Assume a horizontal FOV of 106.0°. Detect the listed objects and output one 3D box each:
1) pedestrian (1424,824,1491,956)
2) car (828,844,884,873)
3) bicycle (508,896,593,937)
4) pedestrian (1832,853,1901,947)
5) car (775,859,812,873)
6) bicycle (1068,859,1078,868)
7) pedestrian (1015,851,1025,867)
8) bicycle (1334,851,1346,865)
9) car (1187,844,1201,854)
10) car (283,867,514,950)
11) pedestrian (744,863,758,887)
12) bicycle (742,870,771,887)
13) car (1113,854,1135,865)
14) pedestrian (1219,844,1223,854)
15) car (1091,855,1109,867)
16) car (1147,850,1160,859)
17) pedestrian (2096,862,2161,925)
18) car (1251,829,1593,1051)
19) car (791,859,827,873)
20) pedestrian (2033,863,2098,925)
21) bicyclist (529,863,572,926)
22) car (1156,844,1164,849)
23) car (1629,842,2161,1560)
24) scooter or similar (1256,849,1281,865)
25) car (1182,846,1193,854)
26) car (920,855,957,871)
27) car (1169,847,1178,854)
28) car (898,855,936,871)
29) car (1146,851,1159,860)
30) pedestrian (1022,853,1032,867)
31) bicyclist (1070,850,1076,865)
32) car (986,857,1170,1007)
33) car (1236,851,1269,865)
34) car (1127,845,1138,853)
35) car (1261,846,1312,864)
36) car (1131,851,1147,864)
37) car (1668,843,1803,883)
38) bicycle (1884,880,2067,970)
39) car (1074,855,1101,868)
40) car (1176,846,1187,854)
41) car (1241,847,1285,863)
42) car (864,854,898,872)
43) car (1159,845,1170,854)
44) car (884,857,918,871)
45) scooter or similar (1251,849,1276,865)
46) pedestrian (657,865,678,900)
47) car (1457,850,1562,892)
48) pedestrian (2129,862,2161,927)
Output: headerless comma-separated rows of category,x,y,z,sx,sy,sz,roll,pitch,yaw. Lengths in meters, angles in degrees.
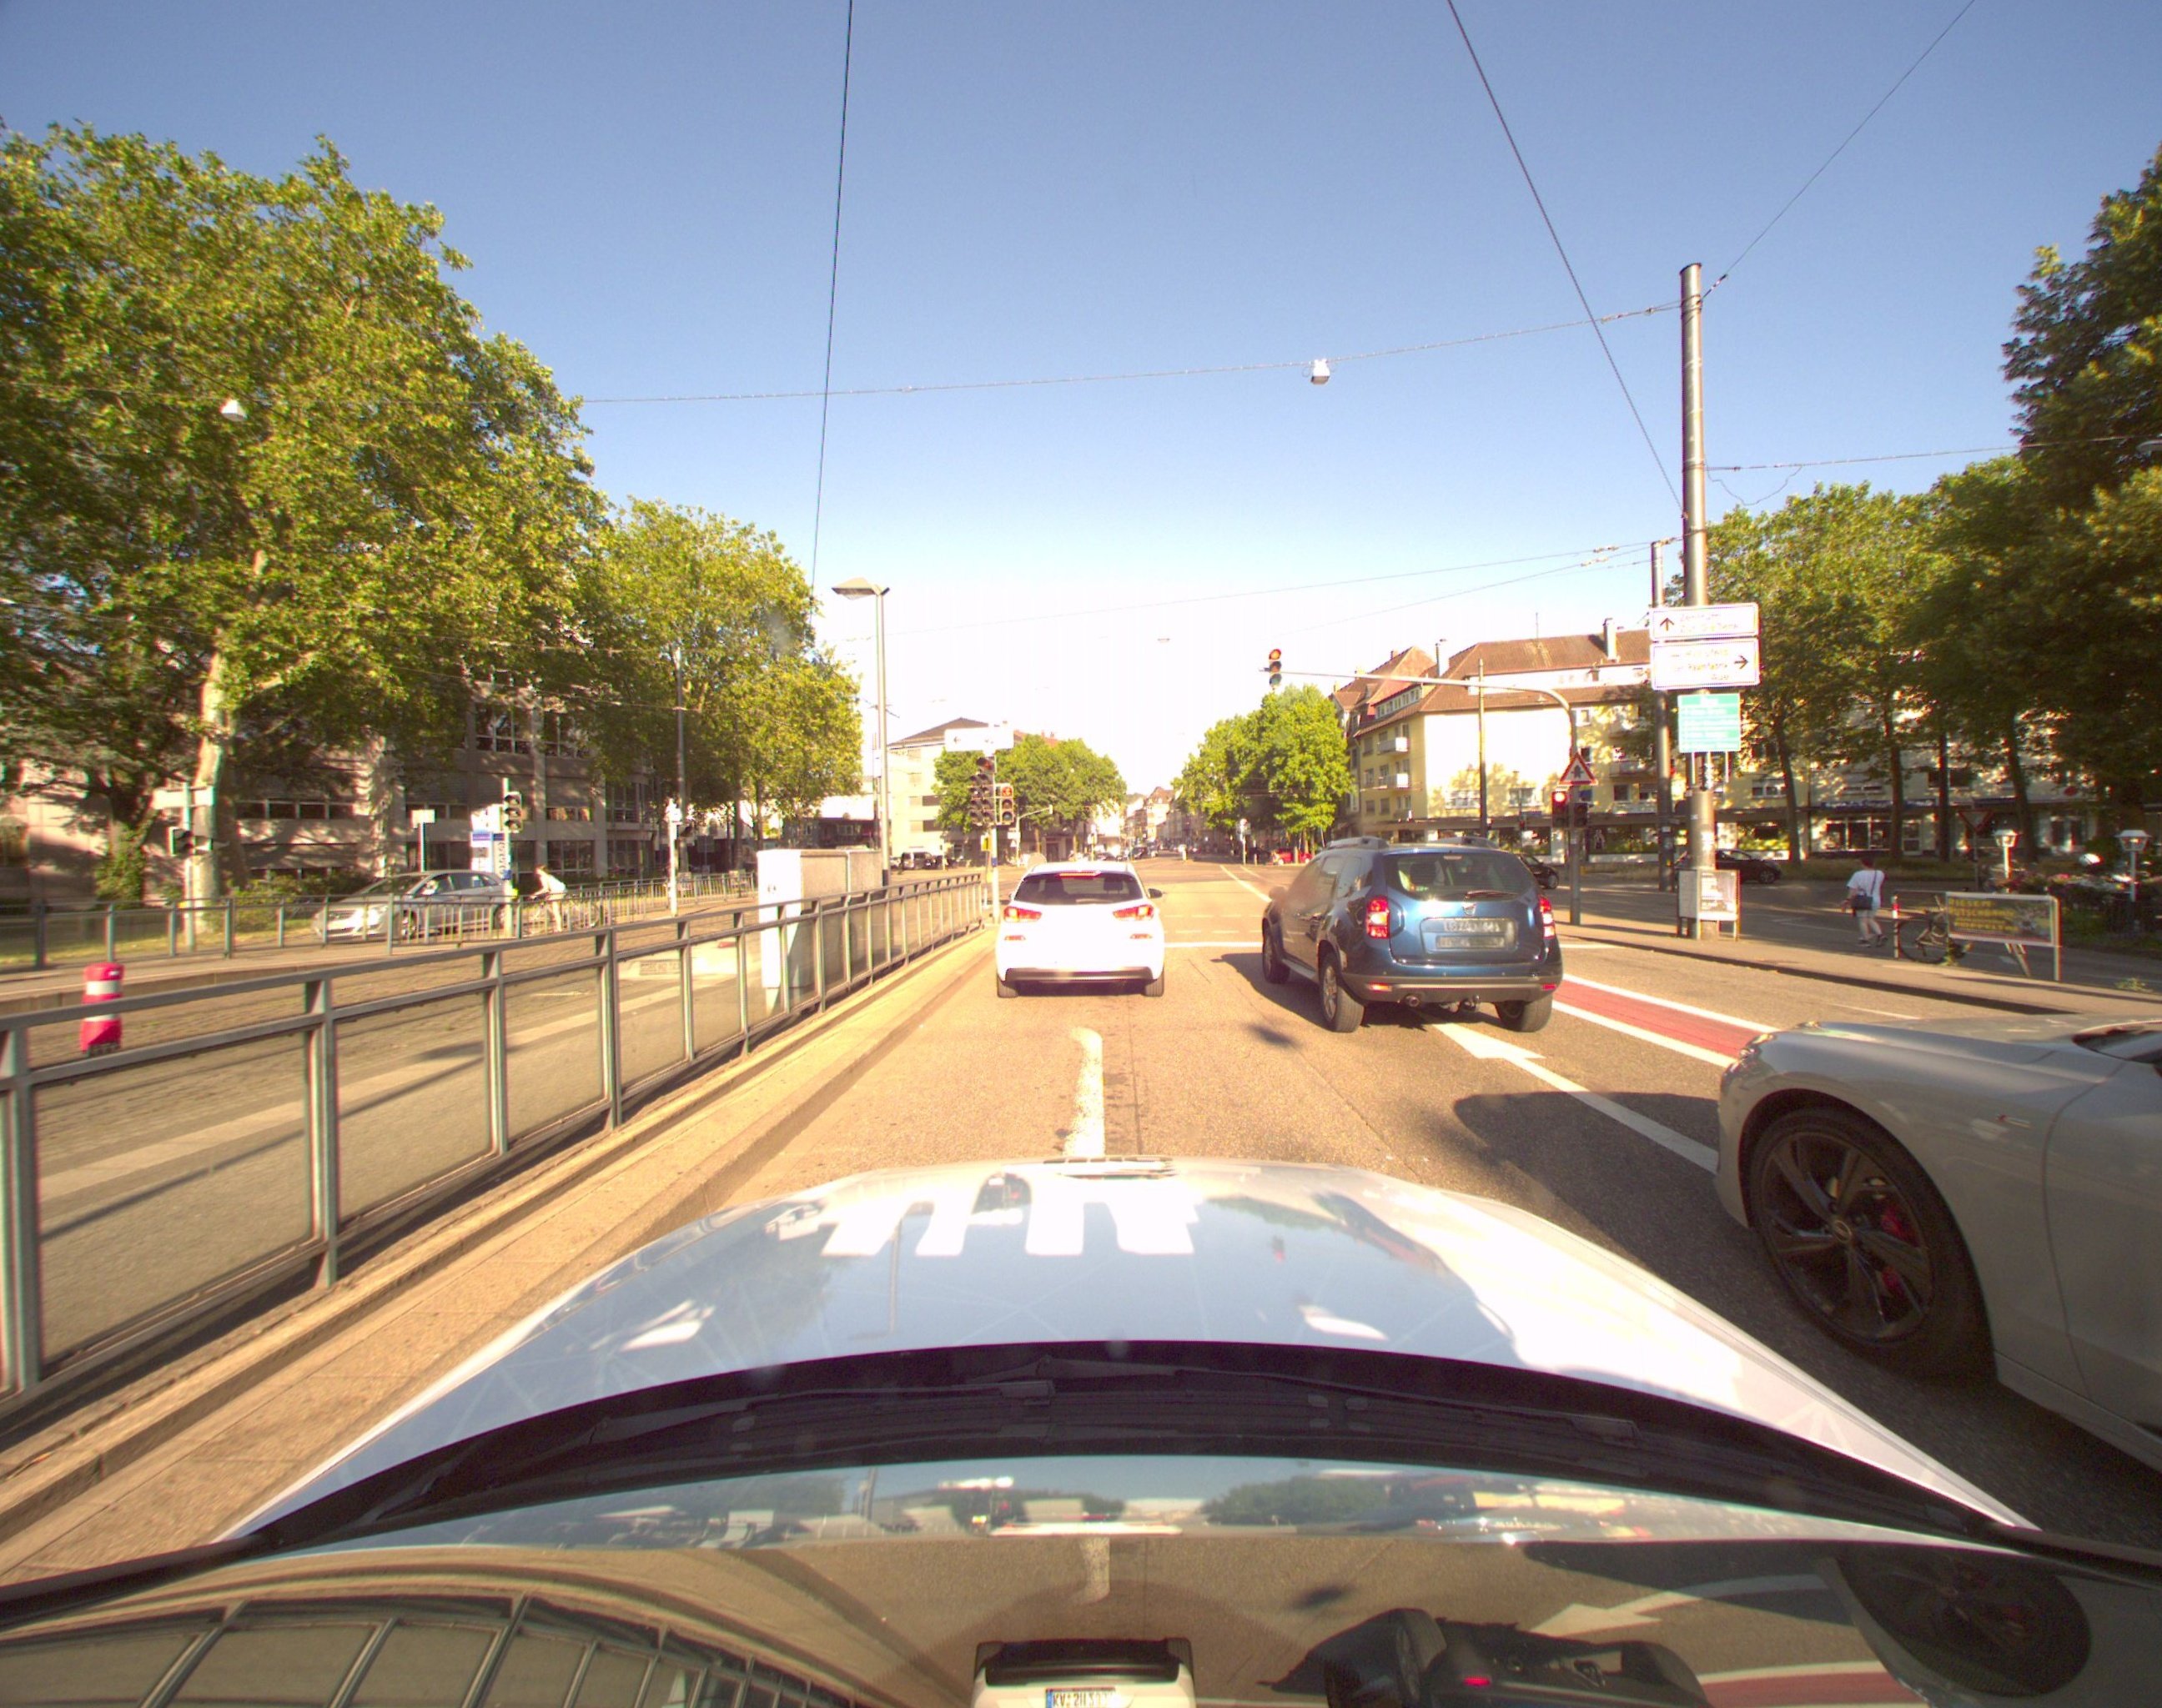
pedestrian,5.538,0.515,12.017,0.654,1.871,0.678,-1,0,1
car,-25.709,0.458,93.287,2.473,3.165,6.573,-1,0,25
bicycle,-12.285,1.427,18.880,1.623,0.816,0.522,-1,0,-34
pedestrian,13.595,0.780,14.119,0.642,1.563,0.635,1,0,21
car,-34.679,1.440,98.353,1.778,1.510,4.023,-1,0,26
bicycle,-0.898,1.056,92.494,0.463,0.956,1.777,-1,0,25
pedestrian,-6.737,0.538,89.966,0.828,1.771,0.787,-1,0,27
bicycle,20.825,0.287,65.555,0.606,1.107,1.803,-1,0,6
car,21.428,-0.985,154.072,2.097,1.776,4.343,-1,0,2
car,-16.122,1.211,19.579,1.806,1.692,4.166,-1,0,5
pedestrian,-23.217,1.477,57.326,0.645,1.661,0.651,-1,0,4
bicycle,-23.029,1.749,57.799,1.786,1.107,0.501,-1,0,4
car,5.864,0.734,110.756,1.779,1.510,4.020,-2,-1,21
pedestrian,25.092,-0.907,145.586,0.643,1.651,0.652,-1,-1,12
car,2.408,0.890,102.780,1.784,1.510,4.010,-2,-1,9
car,11.792,0.081,132.671,1.788,1.510,4.001,-1,0,1
pedestrian,23.060,0.861,17.924,0.645,1.338,0.632,1,0,2
car,2.973,0.640,8.121,1.793,1.638,4.046,-1,0,1
car,-32.331,1.404,96.924,1.778,1.510,4.023,-1,0,26
pedestrian,21.760,0.869,18.010,0.645,1.338,0.632,1,0,2
bicyclist,-12.295,0.924,18.882,0.806,1.414,0.522,-1,0,-34
car,20.917,-1.984,216.556,1.787,1.510,4.002,-1,0,2
car,3.162,0.711,0.938,1.922,1.472,4.857,-1,0,2
scooter or similar,15.228,0.269,66.309,1.926,1.280,0.557,-1,0,43
car,20.963,-0.843,160.617,1.787,1.510,4.002,-1,0,2
car,-15.450,0.958,88.389,1.904,1.649,4.203,-1,0,23
car,21.109,-0.889,186.032,1.787,1.522,4.002,-1,0,2
car,-17.896,0.943,89.119,1.777,1.649,4.035,-1,0,31
car,12.339,0.222,140.654,1.788,1.510,4.001,-1,0,1
pedestrian,-6.111,0.657,91.767,0.795,1.484,0.867,-1,0,28
bicyclist,-0.911,0.410,92.499,0.463,1.745,0.721,-1,0,25
car,0.025,0.780,10.052,1.801,1.452,4.001,-1,0,1
car,20.297,0.431,96.245,4.021,1.510,1.779,-1,0,-40
car,9.854,-0.983,155.658,1.788,1.510,4.001,-1,0,1
car,18.057,0.078,71.654,3.983,1.510,1.796,-1,0,-7
car,8.405,0.523,118.129,1.782,1.826,4.014,-1,0,12
car,26.369,0.359,32.928,3.969,1.510,1.802,-1,1,4
bicycle,11.884,0.897,10.914,0.496,1.075,1.801,0,-1,2
car,0.794,0.904,96.826,1.707,1.510,3.899,-2,-1,27
car,20.504,-0.853,166.794,1.787,1.510,4.002,-1,0,2
car,18.340,0.066,82.075,3.979,1.510,1.797,-1,0,-4
car,-22.595,0.975,92.199,1.779,1.955,4.021,-1,0,21
car,21.688,-1.163,211.060,2.318,2.013,4.978,-1,0,2
car,-20.151,1.126,91.239,1.779,1.510,4.031,-1,0,21
scooter or similar,14.744,0.265,65.772,1.926,1.280,0.557,-1,0,43
pedestrian,-18.703,1.290,36.838,0.533,1.552,0.677,-1,0,1
car,16.255,0.588,30.838,4.060,1.438,1.787,-1,1,-33
pedestrian,22.646,0.851,17.019,0.645,1.338,0.632,1,0,2
